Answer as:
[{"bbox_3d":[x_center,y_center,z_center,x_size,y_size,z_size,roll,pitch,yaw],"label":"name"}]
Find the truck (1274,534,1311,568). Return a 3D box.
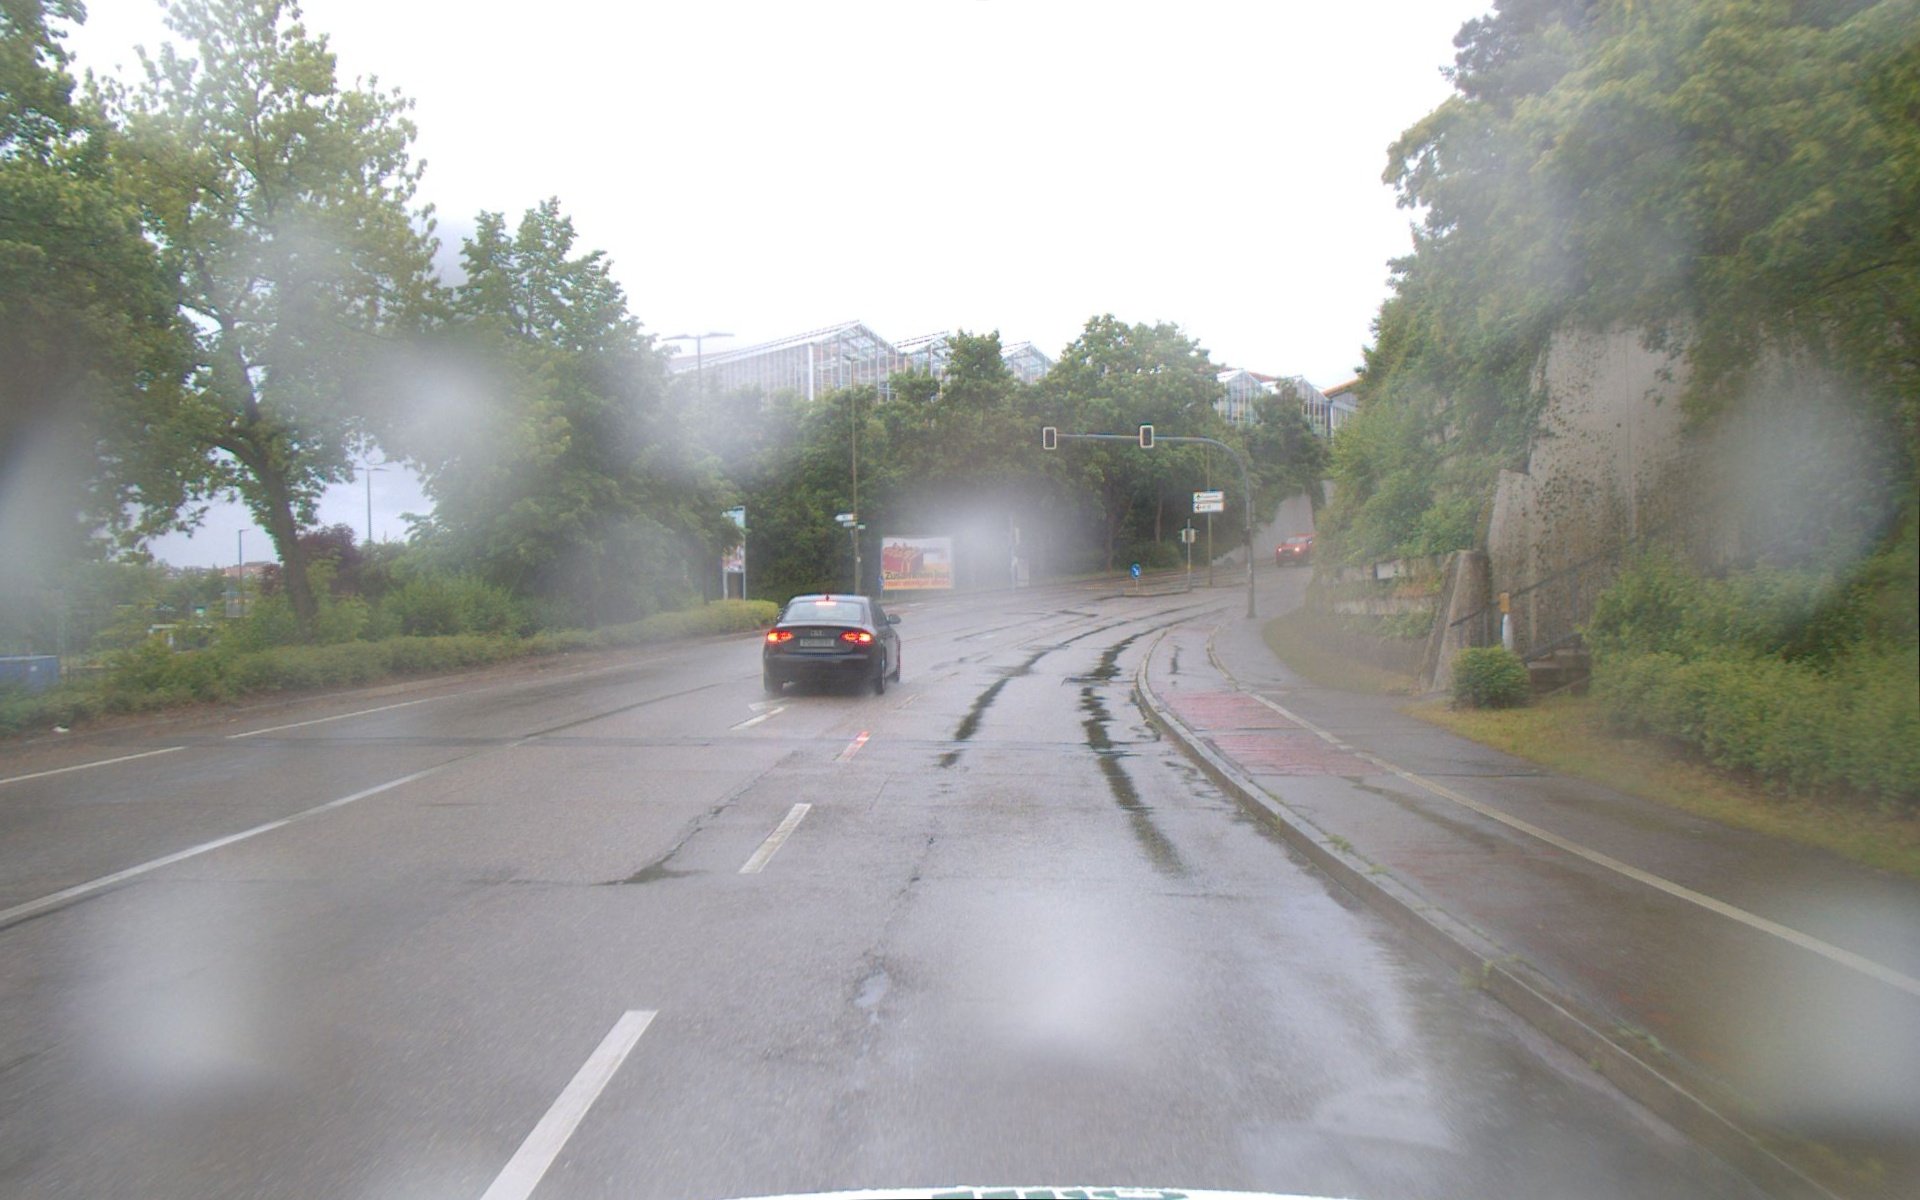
[{"bbox_3d":[21.437,-3.163,106.377,1.951,2.048,5.343,-2,1,15],"label":"truck"}]

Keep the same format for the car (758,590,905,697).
[{"bbox_3d":[-1.850,0.594,24.948,1.718,1.420,4.002,0,1,3],"label":"car"}]
